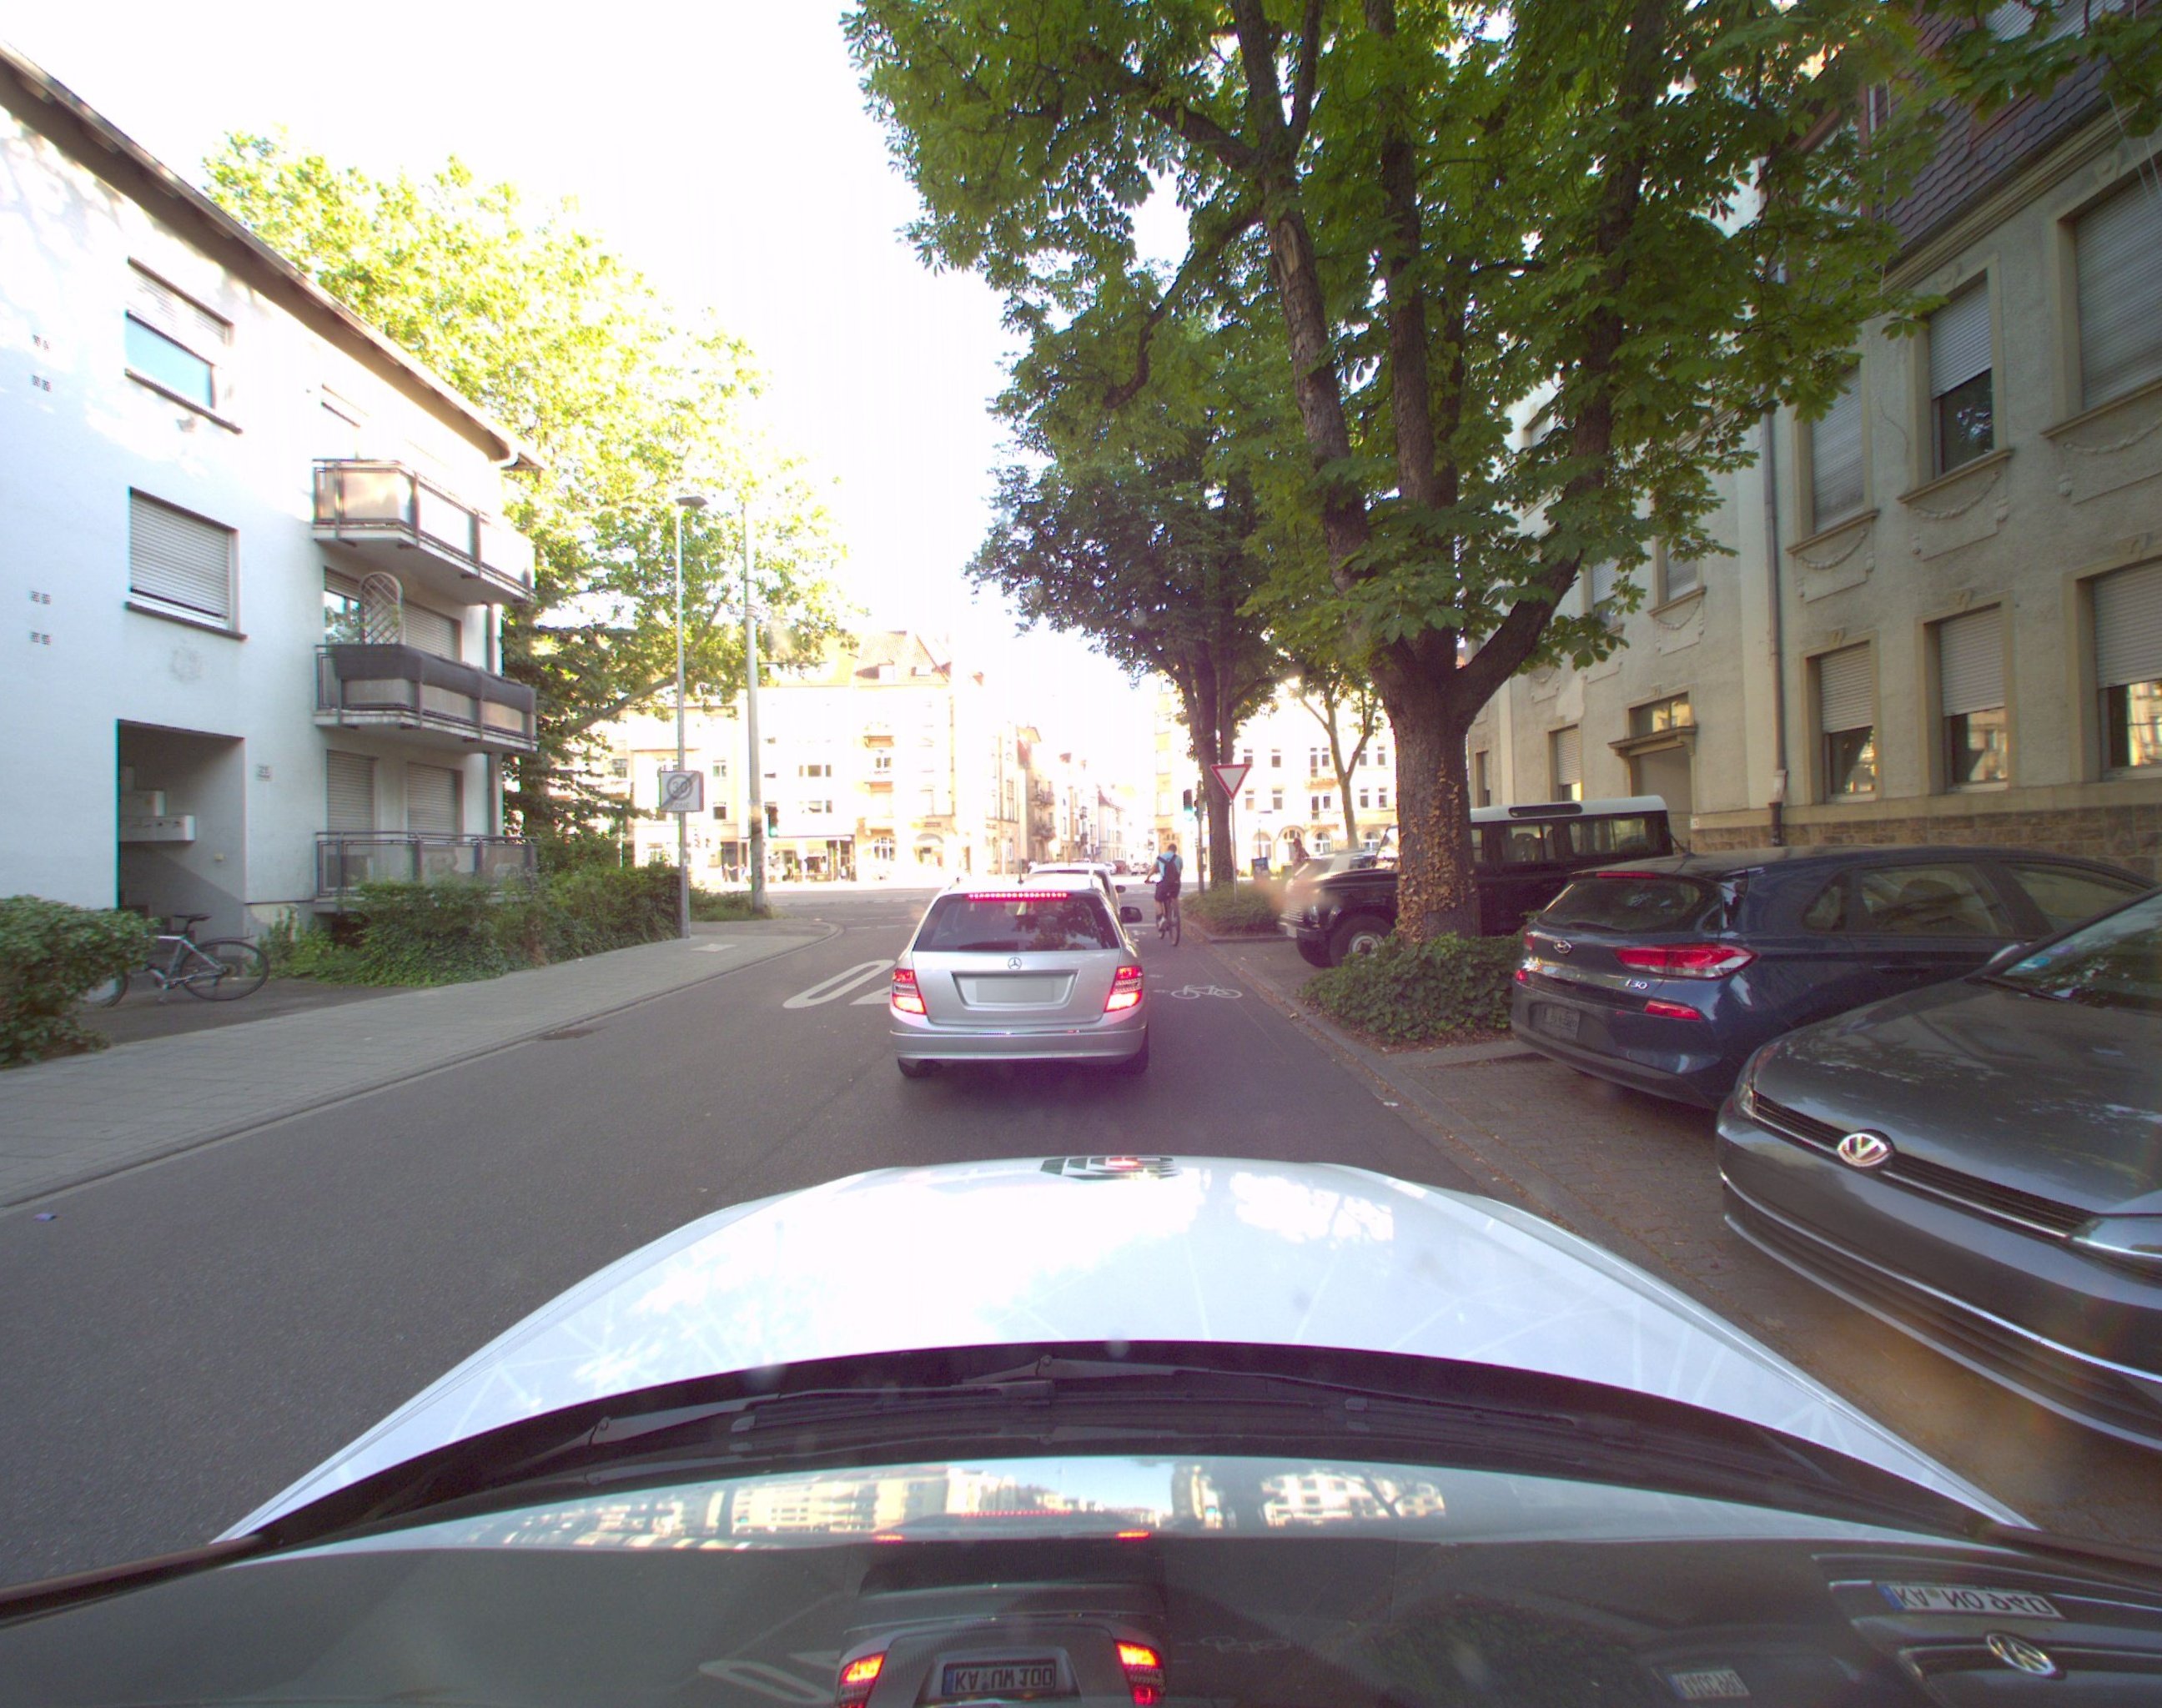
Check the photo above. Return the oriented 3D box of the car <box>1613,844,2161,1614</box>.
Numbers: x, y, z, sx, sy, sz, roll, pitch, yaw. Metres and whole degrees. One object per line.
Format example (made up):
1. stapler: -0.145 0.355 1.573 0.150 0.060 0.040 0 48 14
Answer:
1. car: 4.068 0.665 2.305 4.037 1.422 1.627 -3 -1 -2

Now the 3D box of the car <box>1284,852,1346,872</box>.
1. car: 14.155 0.488 49.327 3.352 1.069 1.380 -1 0 0

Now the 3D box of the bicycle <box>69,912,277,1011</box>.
1. bicycle: -10.014 1.153 9.053 1.469 0.975 0.402 2 -2 -38

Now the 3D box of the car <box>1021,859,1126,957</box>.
1. car: -0.102 0.801 13.796 1.528 1.391 3.599 -1 0 0

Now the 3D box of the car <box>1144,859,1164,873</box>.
1. car: 9.186 1.489 102.057 1.709 1.478 4.016 -6 -1 14

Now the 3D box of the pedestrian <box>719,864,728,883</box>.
1. pedestrian: -28.116 1.511 64.084 0.566 1.511 0.499 -1 0 -17

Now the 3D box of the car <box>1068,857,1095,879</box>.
1. car: 0.055 1.356 79.812 1.926 1.958 4.161 -2 0 10

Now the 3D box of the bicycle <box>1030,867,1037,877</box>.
1. bicycle: -4.246 1.601 73.355 0.567 0.834 1.564 -1 0 -1

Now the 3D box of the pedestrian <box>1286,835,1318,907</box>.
1. pedestrian: 5.834 0.441 21.544 0.630 1.845 0.574 -1 0 -2

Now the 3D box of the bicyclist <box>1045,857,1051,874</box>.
1. bicyclist: -3.001 1.034 73.640 0.465 1.521 0.693 -1 0 -2

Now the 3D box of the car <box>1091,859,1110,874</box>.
1. car: 2.517 1.558 102.523 1.639 1.783 3.876 -1 -1 13

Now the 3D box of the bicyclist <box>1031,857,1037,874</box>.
1. bicyclist: -4.273 1.057 73.430 0.465 1.514 0.655 -1 0 -2

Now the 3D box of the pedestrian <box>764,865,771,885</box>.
1. pedestrian: -24.881 1.665 64.630 0.474 1.511 0.428 -1 0 -18

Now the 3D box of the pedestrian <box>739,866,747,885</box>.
1. pedestrian: -26.863 1.685 64.710 0.510 1.511 0.533 -1 0 -22

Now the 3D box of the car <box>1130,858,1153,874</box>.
1. car: 6.394 1.242 85.858 1.708 1.478 4.016 -3 0 14

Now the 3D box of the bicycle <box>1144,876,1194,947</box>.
1. bicycle: 1.557 0.992 14.666 0.739 1.118 2.014 0 0 2

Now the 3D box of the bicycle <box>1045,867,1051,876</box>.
1. bicycle: -2.974 1.567 73.670 0.567 0.834 1.564 -1 0 -1

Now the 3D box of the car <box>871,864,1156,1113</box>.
1. car: -0.416 0.813 6.579 1.685 1.429 3.491 0 0 -1

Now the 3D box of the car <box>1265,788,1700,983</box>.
1. car: 4.784 0.355 10.166 4.478 1.956 1.792 -3 0 -1

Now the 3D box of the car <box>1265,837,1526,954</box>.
1. car: 4.939 0.618 13.077 3.475 1.586 1.708 -3 0 -5

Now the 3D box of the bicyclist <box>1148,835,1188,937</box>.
1. bicyclist: 1.548 0.559 14.633 0.644 1.775 0.831 0 -1 1

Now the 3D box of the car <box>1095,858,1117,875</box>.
1. car: 2.831 1.393 91.763 1.675 1.722 4.014 -2 0 13

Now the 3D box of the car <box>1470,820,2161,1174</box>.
1. car: 4.429 0.617 4.496 3.739 1.422 1.627 -3 -1 -2
